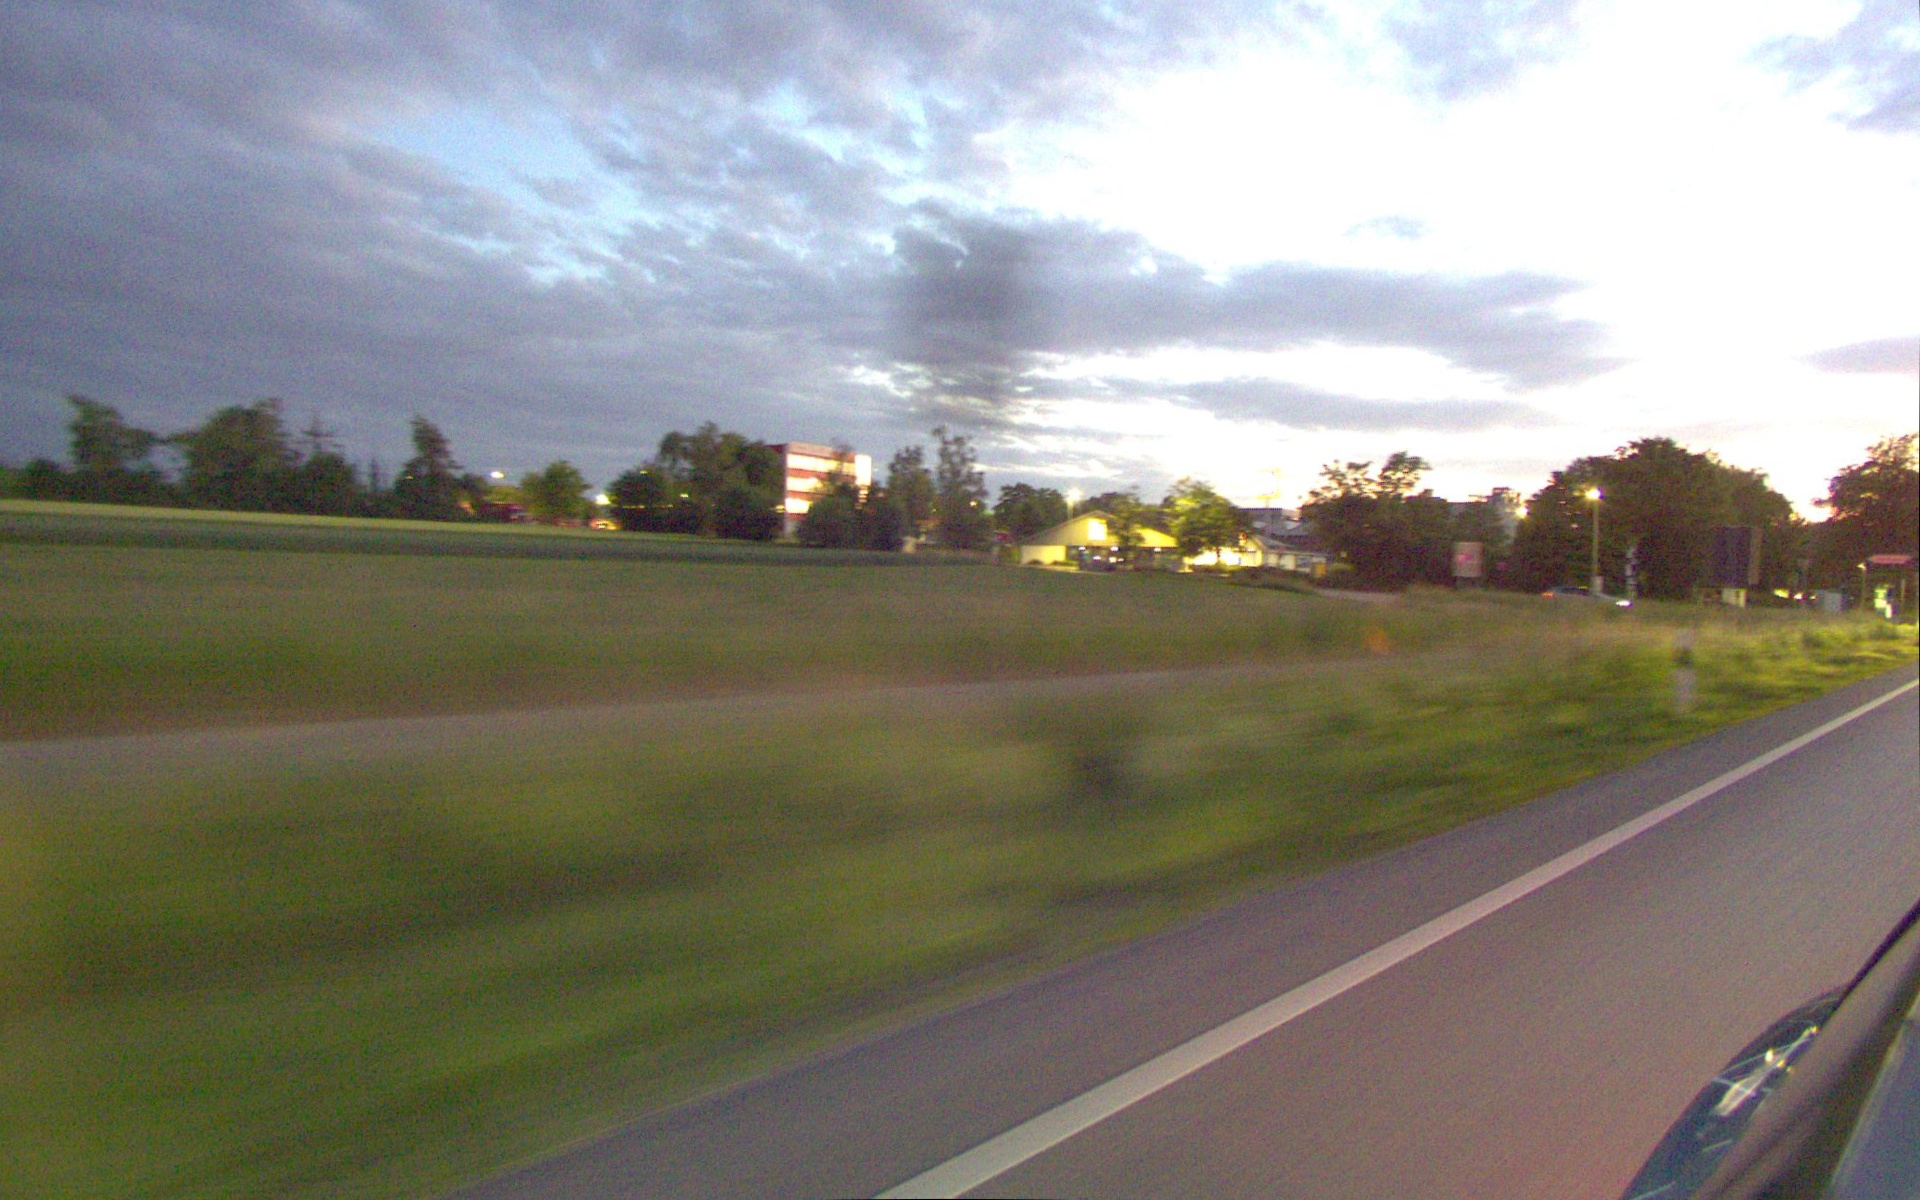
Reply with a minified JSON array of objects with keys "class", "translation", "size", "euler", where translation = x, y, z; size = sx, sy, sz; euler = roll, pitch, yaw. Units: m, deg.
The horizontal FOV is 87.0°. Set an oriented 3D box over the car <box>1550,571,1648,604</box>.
[{"class":"car","translation":[37.685,-0.768,59.746],"size":[1.964,1.684,4.475],"euler":[0,3,-40]}]
